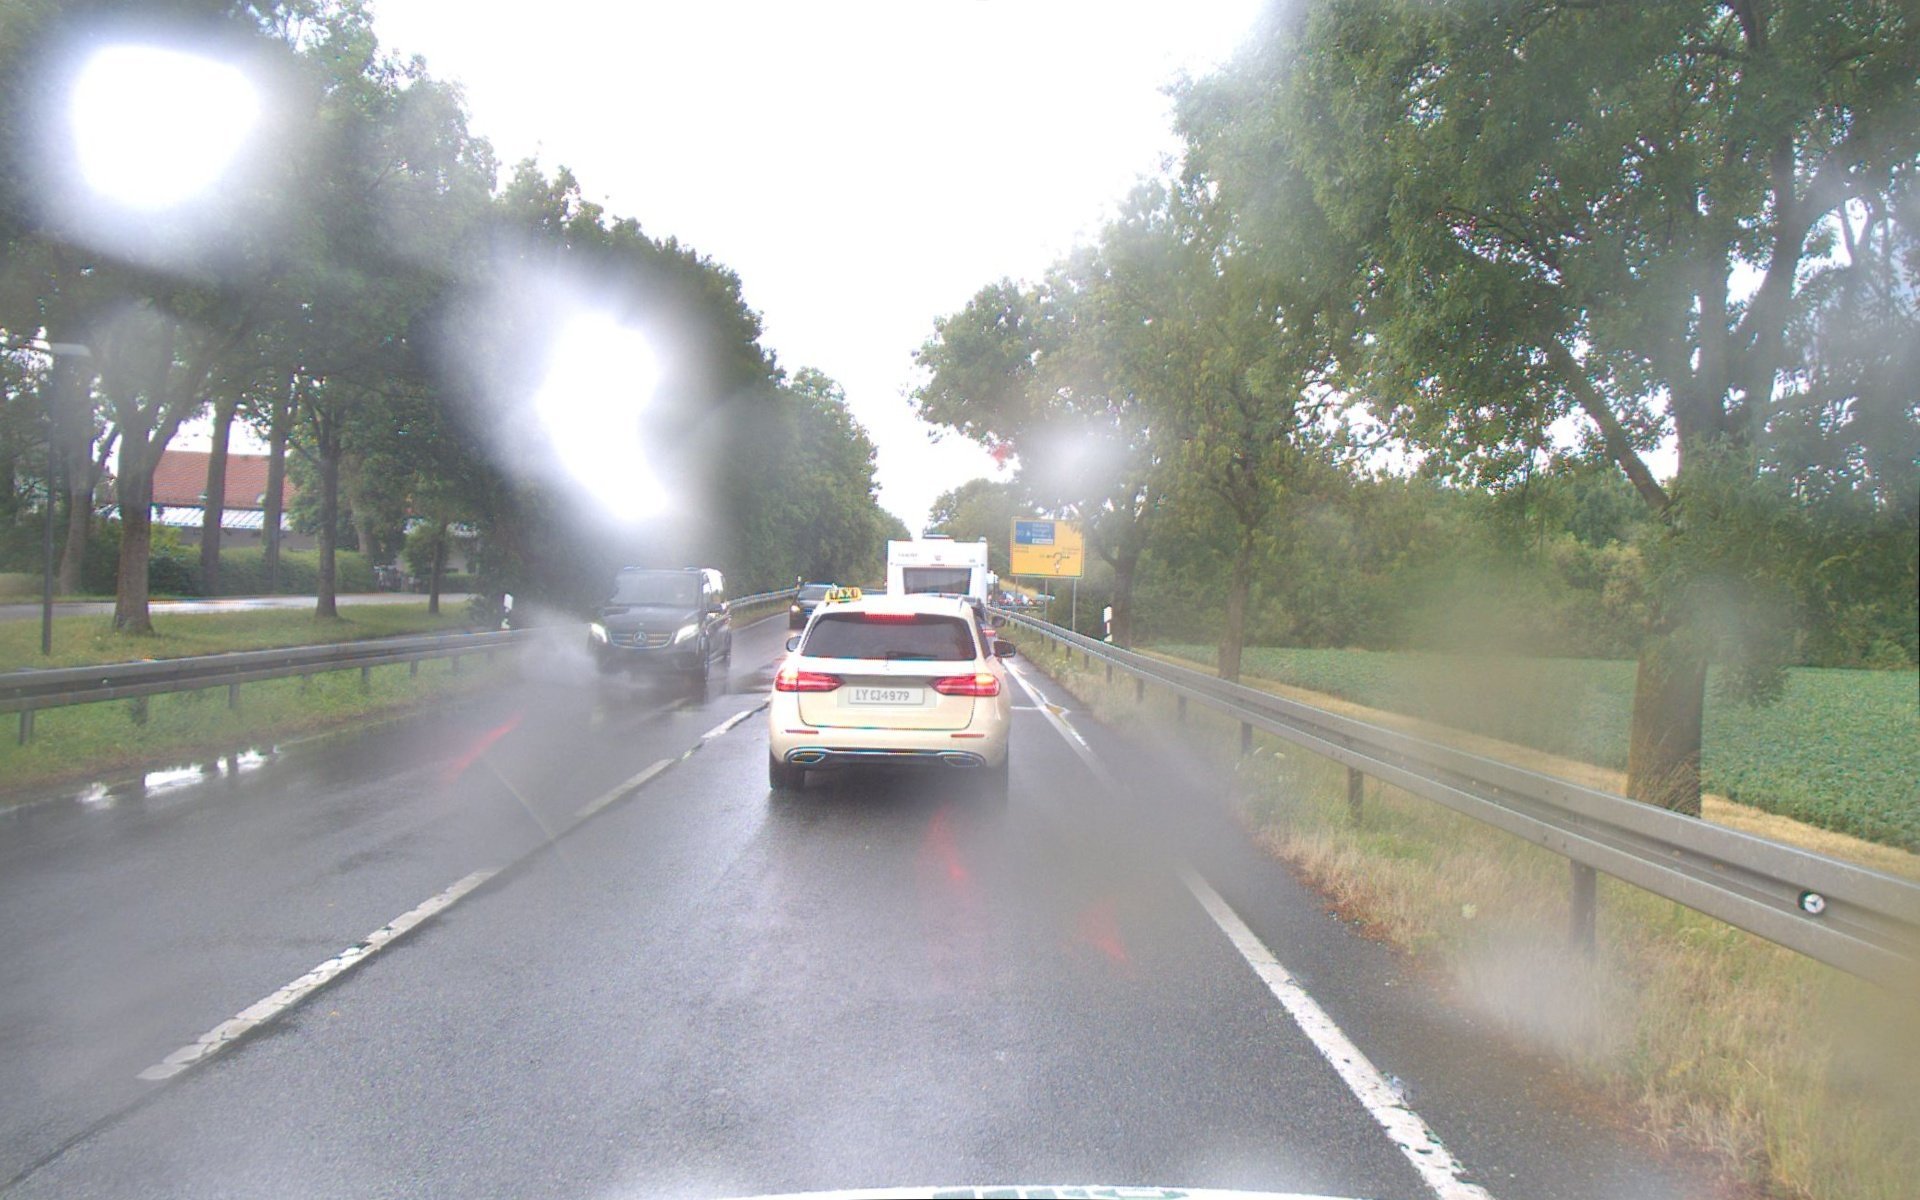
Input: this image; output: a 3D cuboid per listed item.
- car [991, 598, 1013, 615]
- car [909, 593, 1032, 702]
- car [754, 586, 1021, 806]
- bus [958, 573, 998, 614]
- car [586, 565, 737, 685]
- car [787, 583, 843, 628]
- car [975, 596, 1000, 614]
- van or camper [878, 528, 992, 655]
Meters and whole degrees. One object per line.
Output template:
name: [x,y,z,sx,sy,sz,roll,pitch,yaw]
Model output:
car: [2.975,0.448,118.064,1.520,1.138,4.000,1,0,0]
car: [0.160,0.627,24.187,1.630,1.456,4.000,1,0,1]
car: [-0.478,0.651,13.423,1.826,1.502,4.000,1,0,1]
bus: [0.900,-0.329,85.158,1.953,2.049,3.999,0,0,-1]
car: [-4.925,0.378,27.872,1.791,1.834,4.414,1,0,-1]
car: [-4.988,0.169,57.325,1.595,1.463,3.959,1,0,-1]
car: [1.816,0.332,108.937,1.520,1.138,3.999,1,0,-1]
van or camper: [-0.524,-0.195,39.000,2.438,2.732,5.700,1,0,1]
